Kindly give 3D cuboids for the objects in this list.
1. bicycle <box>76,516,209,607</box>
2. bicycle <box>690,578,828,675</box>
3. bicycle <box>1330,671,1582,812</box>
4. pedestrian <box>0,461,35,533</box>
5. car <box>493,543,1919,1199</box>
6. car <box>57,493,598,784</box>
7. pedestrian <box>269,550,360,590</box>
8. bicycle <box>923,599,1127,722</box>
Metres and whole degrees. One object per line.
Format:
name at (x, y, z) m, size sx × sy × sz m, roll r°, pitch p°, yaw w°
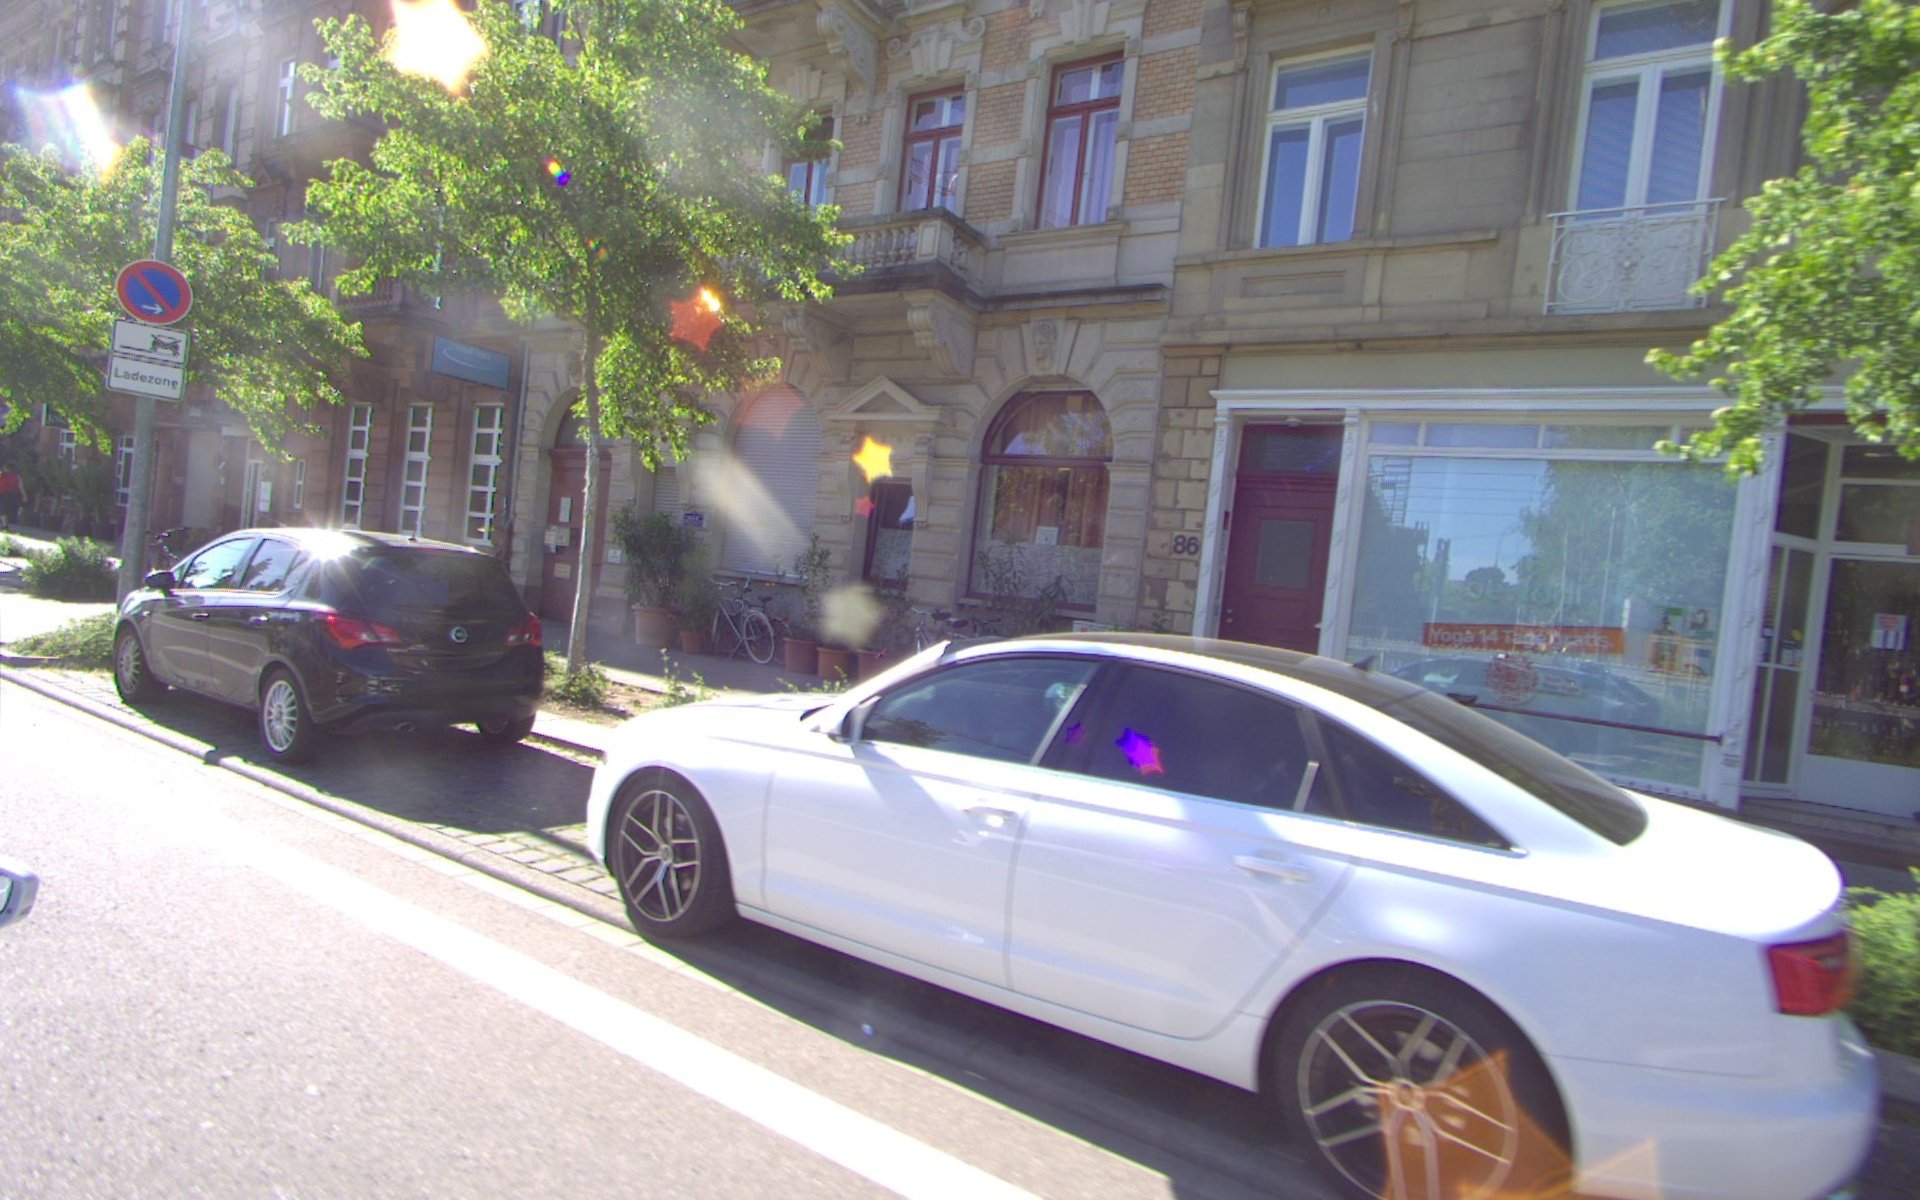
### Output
bicycle at (-12.054, -0.575, 14.814) m, size 2.134 × 1.135 × 0.651 m, roll 6°, pitch 2°, yaw 26°
bicycle at (-2.812, 0.342, 13.964) m, size 2.023 × 1.104 × 0.481 m, roll 7°, pitch 2°, yaw 32°
bicycle at (4.588, 1.275, 9.398) m, size 1.979 × 0.956 × 0.447 m, roll 7°, pitch 0°, yaw 32°
pedestrian at (-24.937, -2.705, 26.159) m, size 0.852 × 1.752 × 0.997 m, roll 6°, pitch 0°, yaw 31°
car at (0.498, 0.765, 4.175) m, size 5.021 × 1.515 × 1.952 m, roll 7°, pitch 2°, yaw 32°
car at (-5.003, 0.138, 7.818) m, size 4.151 × 1.591 × 1.884 m, roll 6°, pitch 2°, yaw 32°
pedestrian at (-13.165, -0.616, 20.498) m, size 1.974 × 0.560 × 0.774 m, roll 7°, pitch 1°, yaw 32°
bicycle at (0.720, 0.663, 11.571) m, size 2.162 × 1.104 × 0.721 m, roll 7°, pitch 2°, yaw 32°
